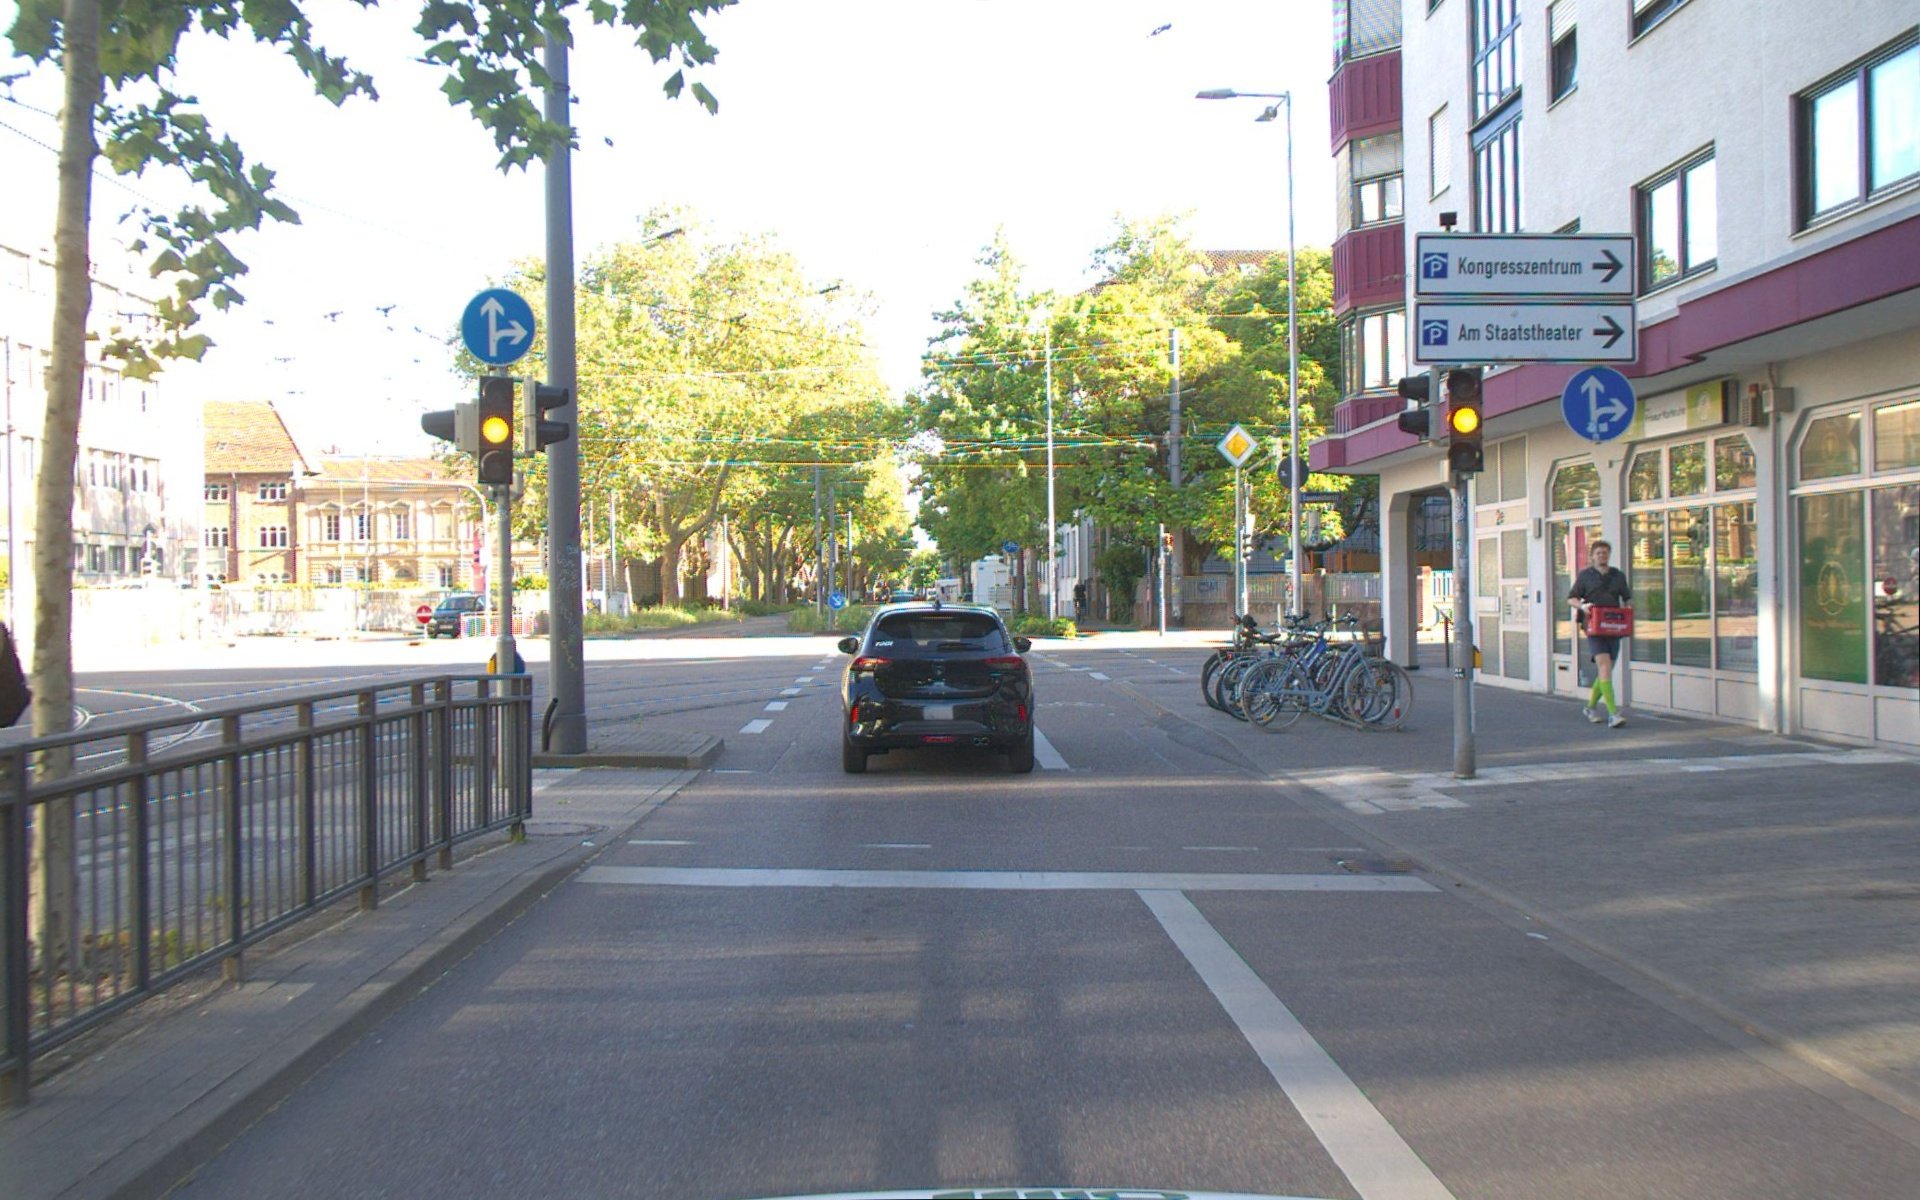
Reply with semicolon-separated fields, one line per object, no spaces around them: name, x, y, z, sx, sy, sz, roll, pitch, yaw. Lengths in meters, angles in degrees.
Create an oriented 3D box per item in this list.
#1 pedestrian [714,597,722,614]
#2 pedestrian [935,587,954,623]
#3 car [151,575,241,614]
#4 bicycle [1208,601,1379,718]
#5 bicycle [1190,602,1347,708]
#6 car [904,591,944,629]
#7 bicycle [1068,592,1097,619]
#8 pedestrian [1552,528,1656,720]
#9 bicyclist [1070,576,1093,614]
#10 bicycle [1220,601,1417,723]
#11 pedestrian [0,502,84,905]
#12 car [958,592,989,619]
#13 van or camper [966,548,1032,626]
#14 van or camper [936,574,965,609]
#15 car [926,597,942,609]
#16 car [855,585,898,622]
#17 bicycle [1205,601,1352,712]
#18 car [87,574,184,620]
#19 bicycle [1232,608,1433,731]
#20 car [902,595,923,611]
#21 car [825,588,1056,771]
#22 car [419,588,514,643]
pedestrian;-23.244;0.511;159.101;0.645;1.650;0.615;1;0;-2
pedestrian;-0.888;0.288;94.632;1.015;2.059;1.212;-1;0;-2
car;-36.063;-0.271;78.206;1.952;1.733;4.380;-1;0;3
bicycle;3.698;0.653;18.411;1.793;1.242;0.496;-1;0;2
bicycle;3.663;0.651;19.729;1.764;1.220;0.546;-1;-1;3
car;-1.664;0.433;75.454;1.796;1.651;4.283;0;0;-2
bicycle;5.060;0.223;68.514;0.628;1.089;1.944;-1;0;-13
pedestrian;6.539;0.237;16.822;0.708;1.890;0.801;-1;0;-2
bicyclist;5.040;-0.214;68.558;0.736;1.536;0.699;-1;0;-13
bicycle;3.790;0.647;17.532;1.938;1.220;0.590;-1;0;-6
pedestrian;-4.588;0.456;7.586;0.719;1.777;0.712;-1;0;4
car;0.792;0.296;100.911;1.754;1.536;3.873;-3;0;-1
van or camper;1.670;-0.566;74.048;2.328;3.179;7.548;-4;0;-2
van or camper;-0.828;-0.721;147.304;2.435;3.046;5.434;1;0;0
car;-3.194;0.339;204.669;1.866;1.450;4.215;-1;0;0
car;-3.902;0.140;77.936;1.953;1.656;4.468;1;0;-2
bicycle;3.643;0.645;18.981;1.588;1.220;0.496;-1;0;3
car;-38.941;-0.144;78.209;1.952;2.049;4.727;-1;0;4
bicycle;3.799;0.696;16.913;1.902;1.190;0.572;-1;0;-4
car;-4.537;0.247;158.061;1.866;1.450;4.215;-1;0;0
car;-0.165;0.635;15.611;1.866;1.450;4.215;-1;0;0
car;-18.773;0.551;63.126;1.951;1.981;4.427;-1;1;5
